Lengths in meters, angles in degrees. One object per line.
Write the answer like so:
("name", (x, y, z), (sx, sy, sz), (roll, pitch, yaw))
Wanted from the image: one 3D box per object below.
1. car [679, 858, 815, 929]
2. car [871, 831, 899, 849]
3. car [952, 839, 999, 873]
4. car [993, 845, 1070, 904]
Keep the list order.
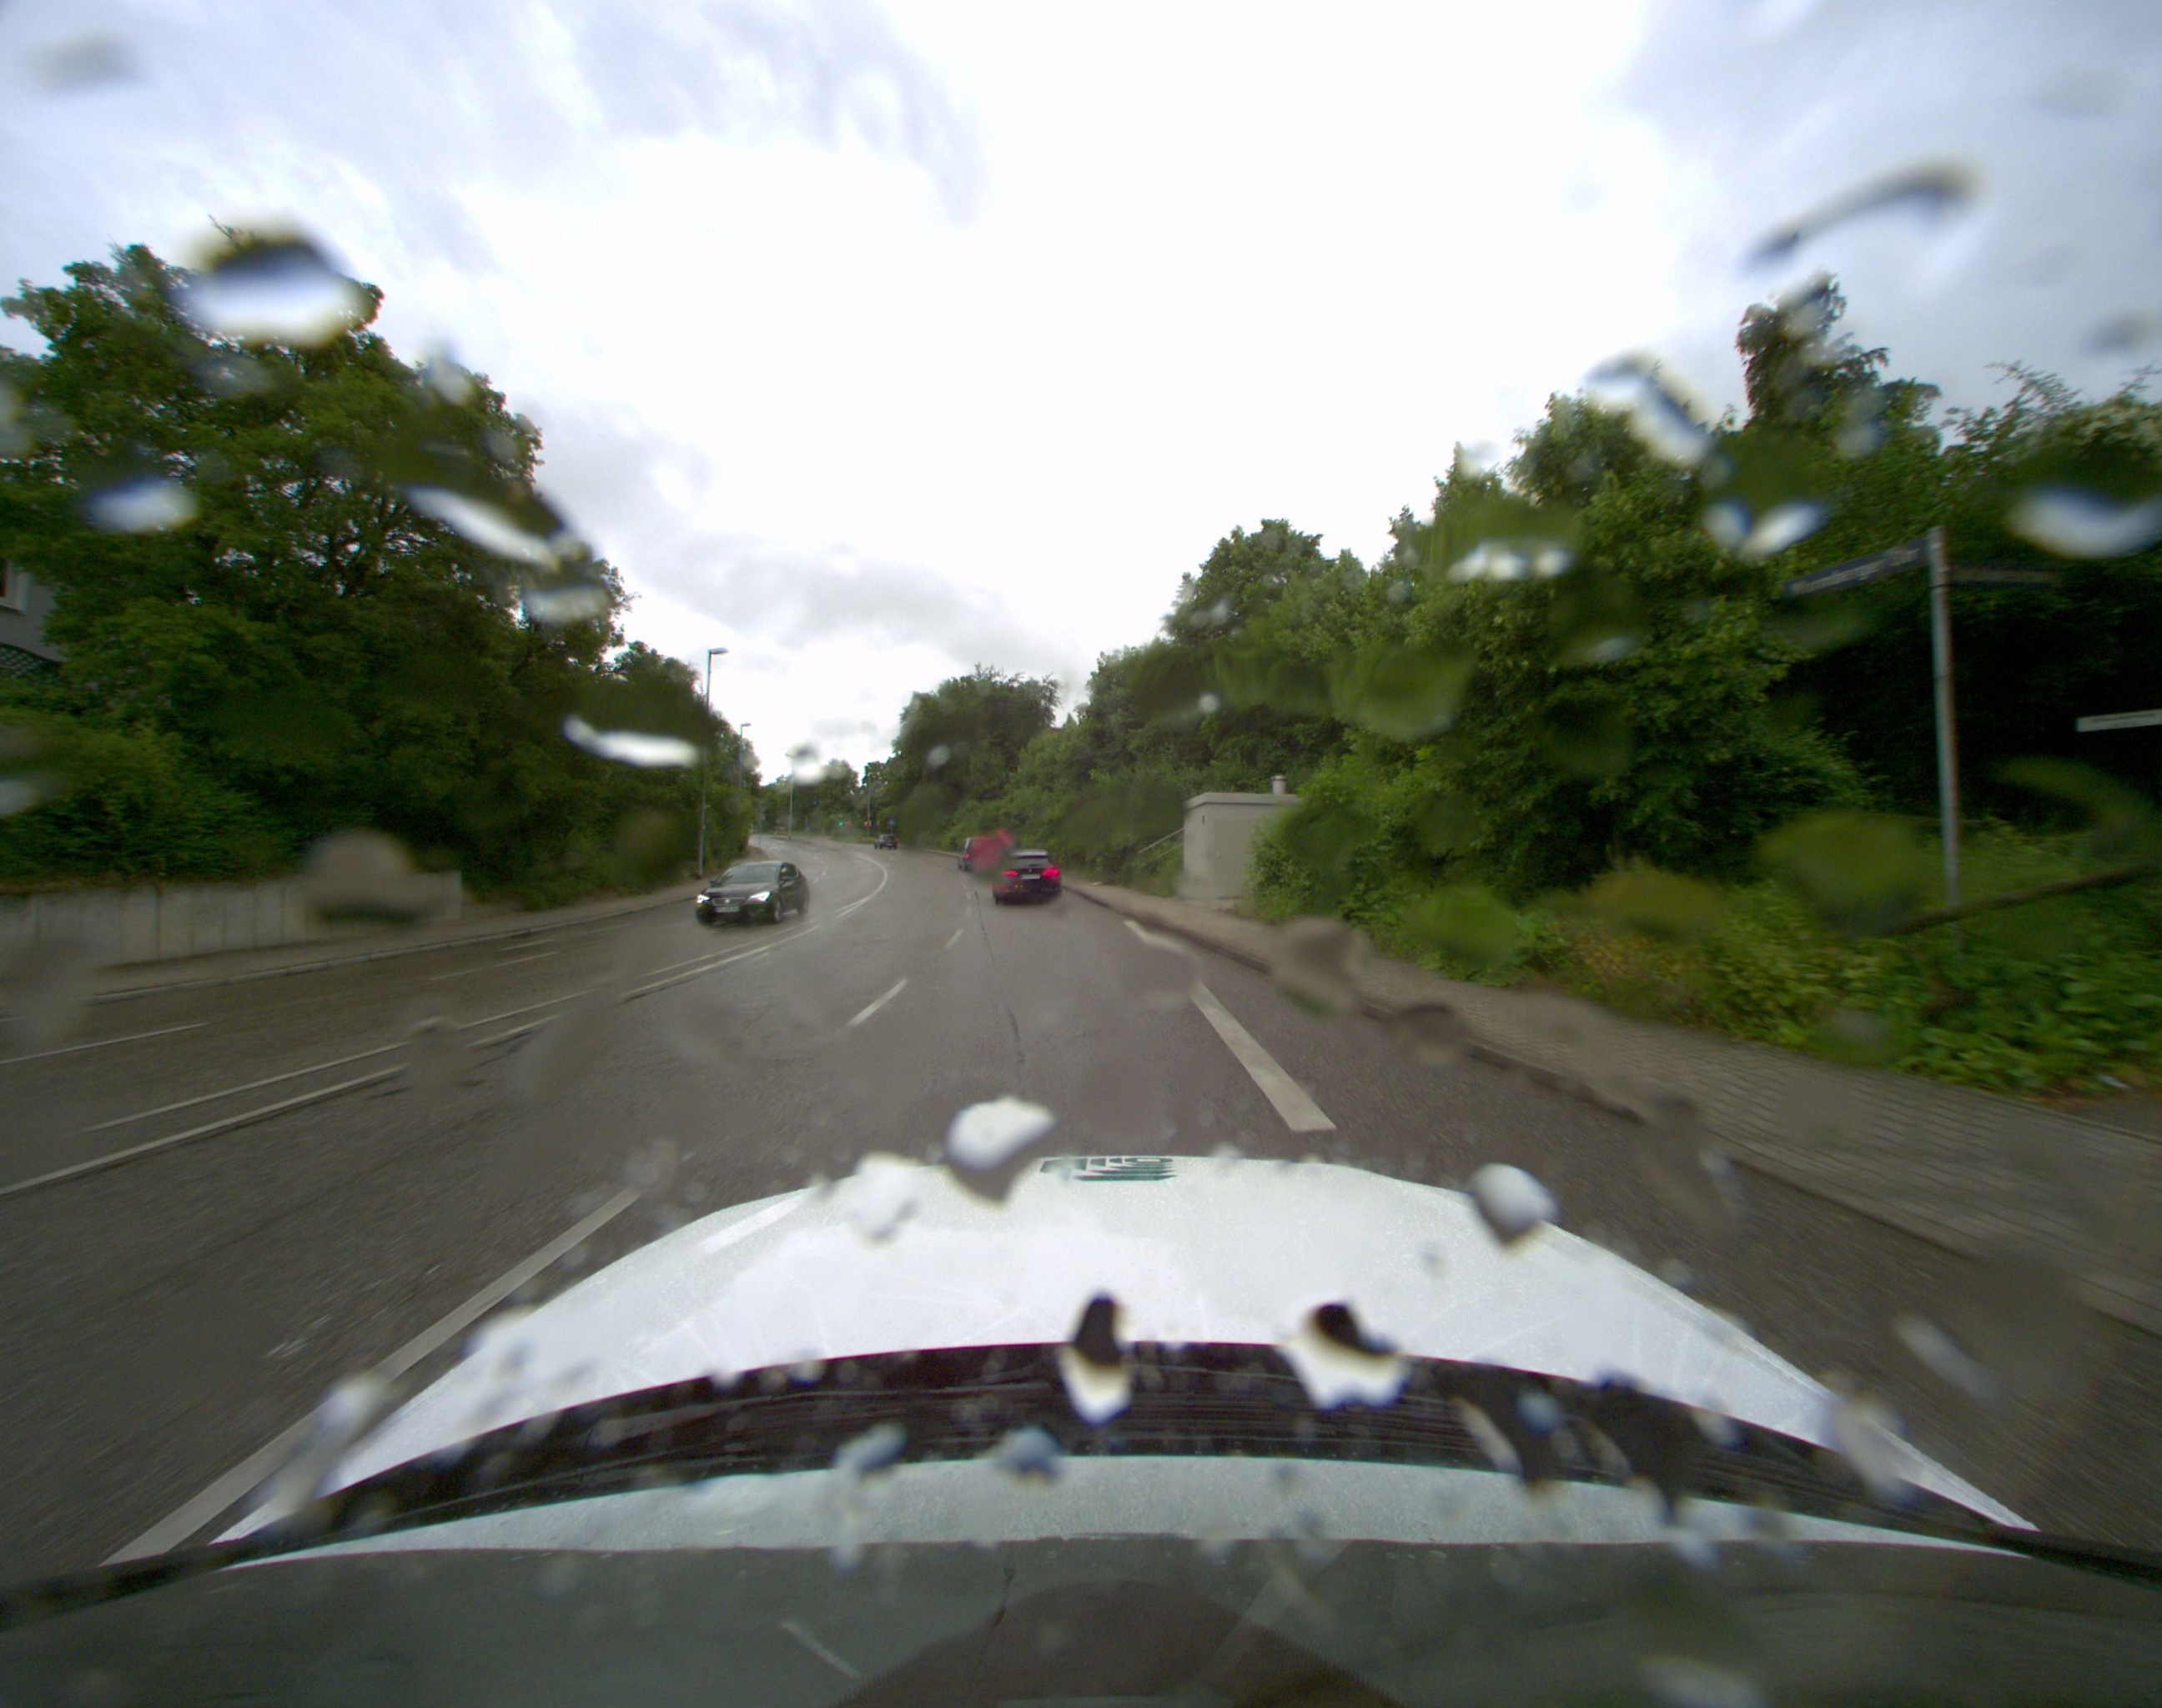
("car", (-7.958, 0.870, 19.845), (1.890, 1.487, 4.224), (-2, 0, -6))
("car", (-19.890, -1.381, 82.599), (1.862, 1.662, 3.963), (1, -2, -28))
("car", (-5.832, 0.065, 44.738), (1.997, 1.748, 3.979), (-1, 1, -15))
("car", (-1.569, 0.545, 24.119), (1.992, 1.586, 4.651), (0, 0, -7))
